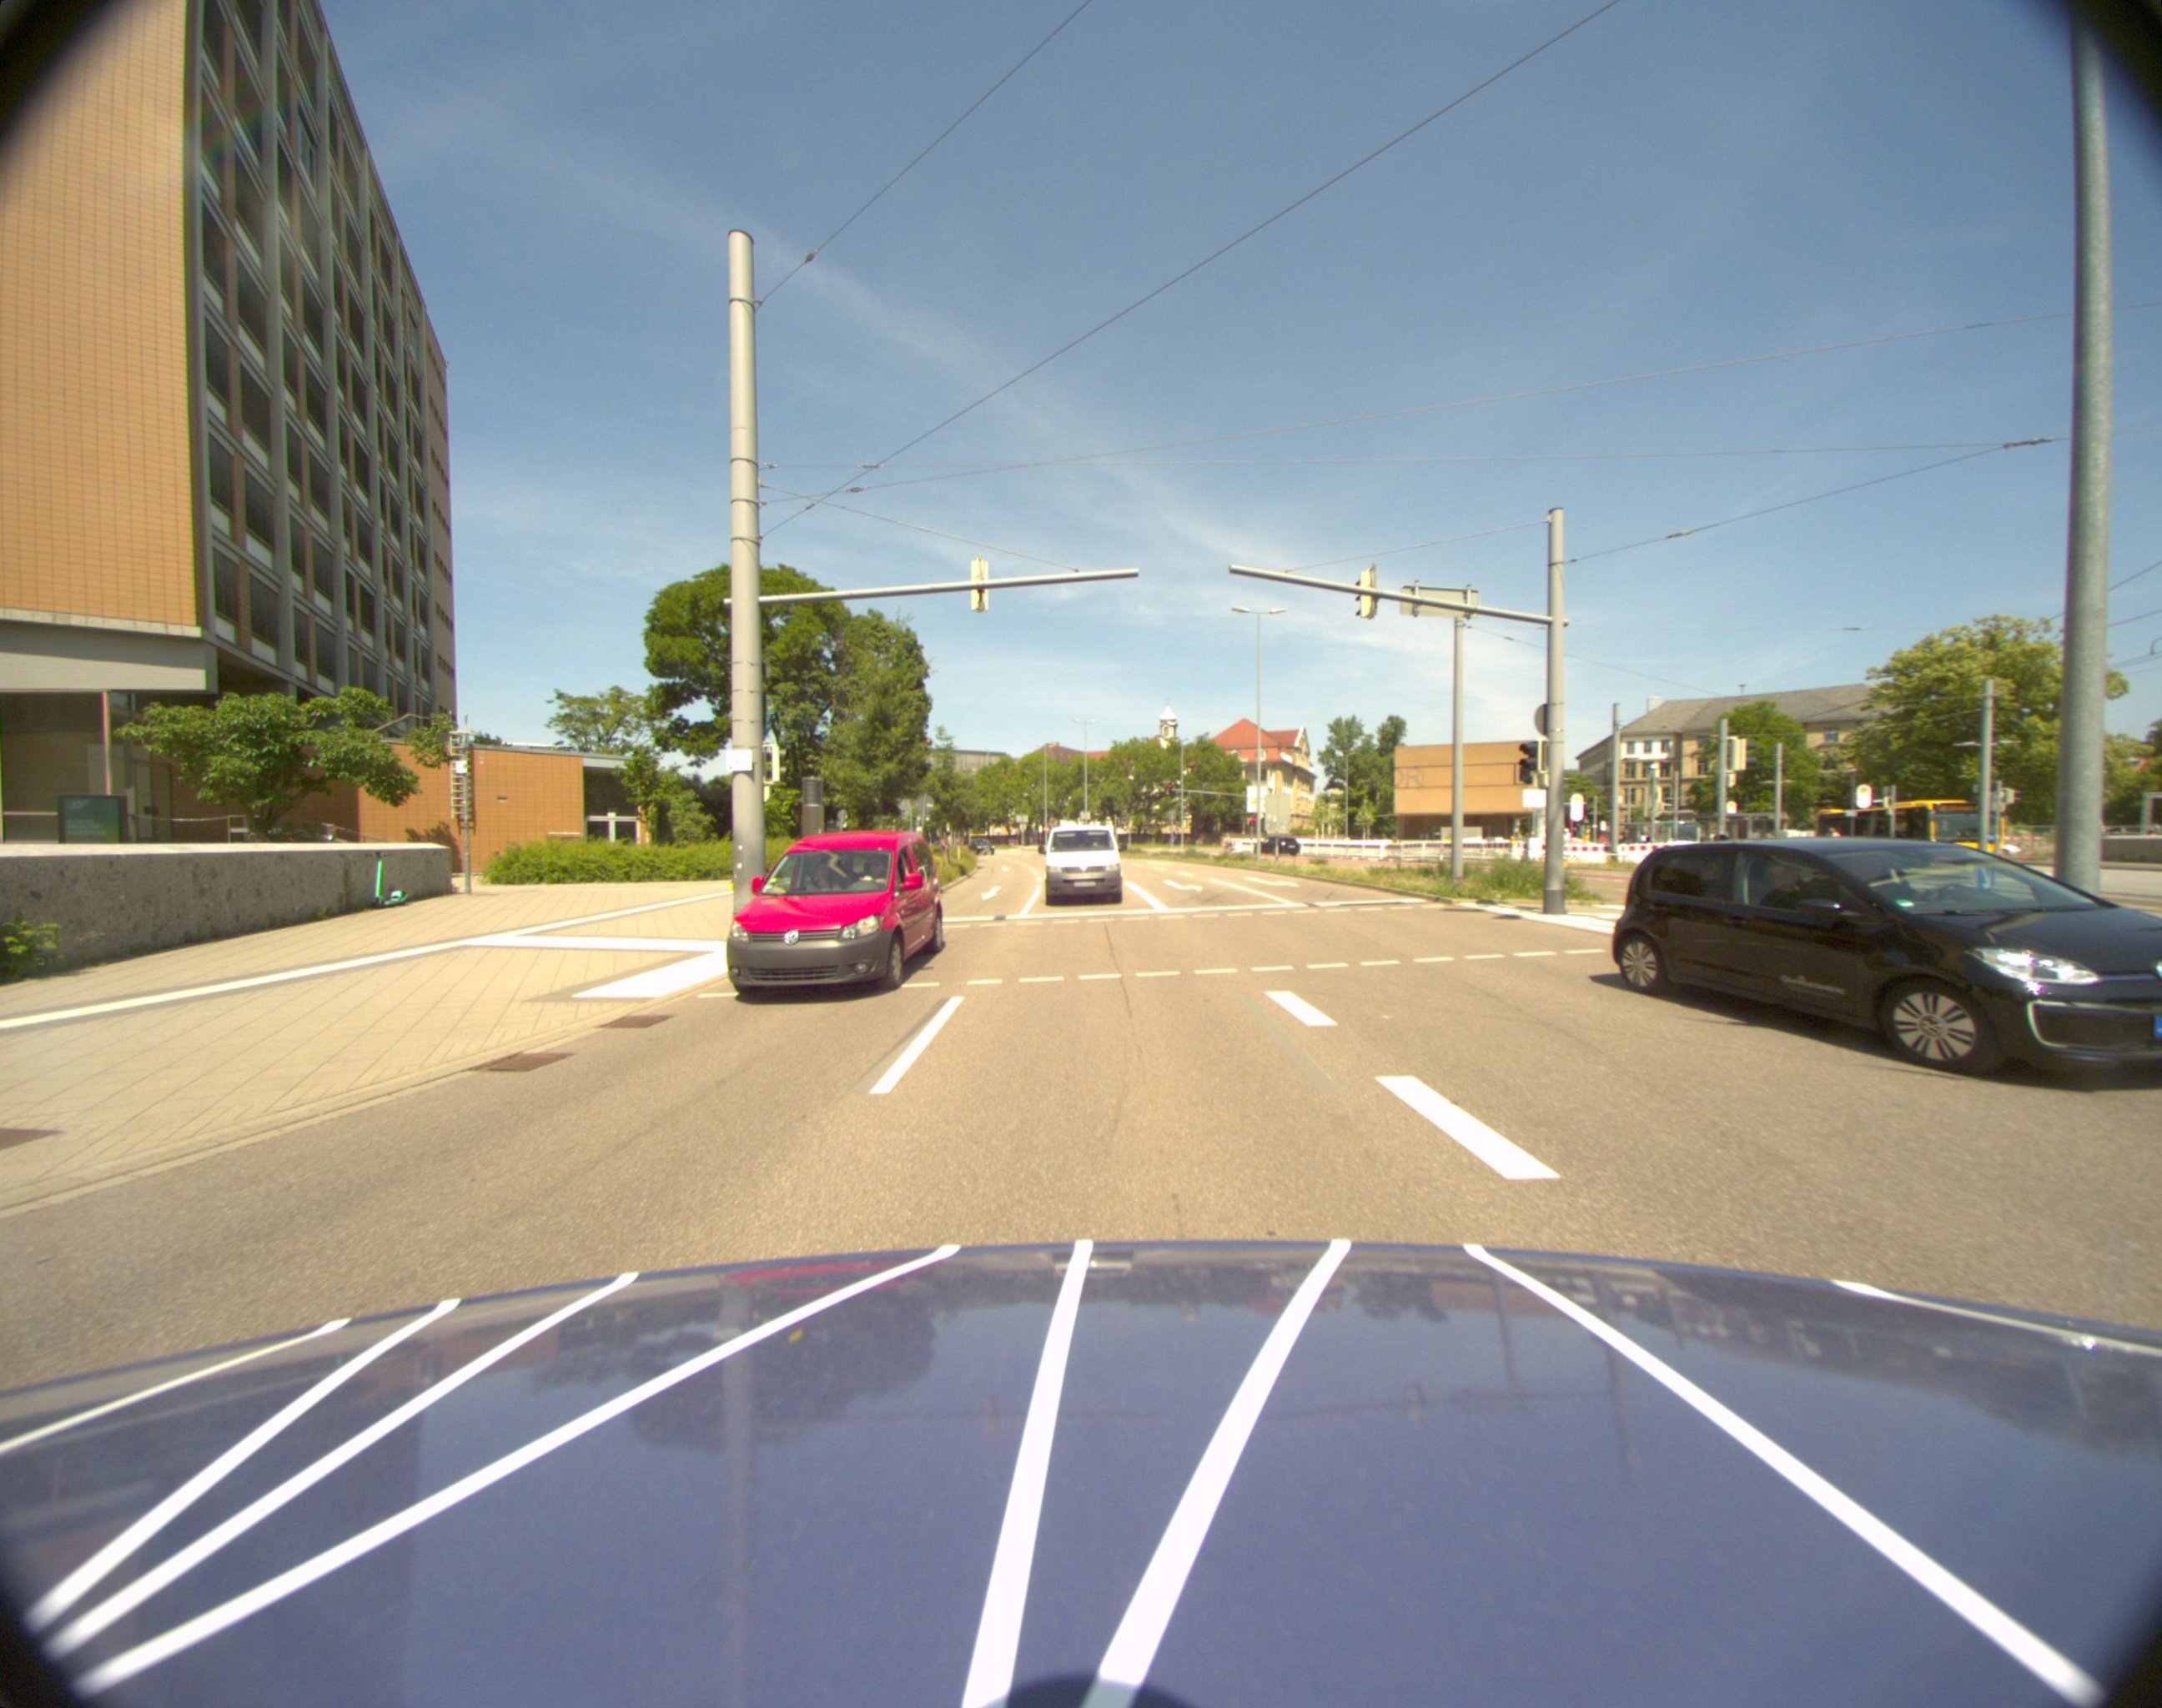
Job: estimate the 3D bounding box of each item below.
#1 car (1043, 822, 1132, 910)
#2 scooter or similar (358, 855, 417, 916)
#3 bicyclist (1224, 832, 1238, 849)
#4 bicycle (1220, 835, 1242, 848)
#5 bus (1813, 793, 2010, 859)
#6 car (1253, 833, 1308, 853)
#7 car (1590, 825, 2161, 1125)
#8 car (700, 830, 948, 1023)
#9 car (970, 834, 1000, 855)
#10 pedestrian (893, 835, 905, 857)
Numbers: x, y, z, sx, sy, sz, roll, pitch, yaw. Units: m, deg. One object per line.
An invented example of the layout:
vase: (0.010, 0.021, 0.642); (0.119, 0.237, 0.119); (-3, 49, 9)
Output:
car: (0.109, 0.195, 19.876); (1.971, 1.959, 4.846); (-2, 2, -1)
scooter or similar: (-14.341, 0.630, 15.742); (0.459, 1.164, 1.248); (-1, 2, -21)
bicyclist: (12.569, -1.162, 63.702); (0.587, 1.348, 1.437); (-3, 3, -16)
bicycle: (12.579, -1.042, 63.758); (0.879, 1.066, 2.228); (-3, 3, -16)
bus: (43.651, -1.455, 40.664); (2.849, 2.999, 12.240); (0, 2, 26)
car: (15.233, -0.863, 58.336); (2.001, 1.457, 4.839); (-1, 2, -14)
car: (6.061, 0.587, 5.833); (1.748, 1.567, 3.736); (0, 1, -1)
car: (-2.899, 0.648, 9.685); (1.655, 1.848, 4.543); (-1, 2, -1)
car: (-9.659, -0.960, 76.301); (2.002, 2.002, 3.991); (-1, 2, -23)
pedestrian: (-14.345, -0.634, 59.907); (0.728, 1.788, 0.613); (0, 2, -1)
